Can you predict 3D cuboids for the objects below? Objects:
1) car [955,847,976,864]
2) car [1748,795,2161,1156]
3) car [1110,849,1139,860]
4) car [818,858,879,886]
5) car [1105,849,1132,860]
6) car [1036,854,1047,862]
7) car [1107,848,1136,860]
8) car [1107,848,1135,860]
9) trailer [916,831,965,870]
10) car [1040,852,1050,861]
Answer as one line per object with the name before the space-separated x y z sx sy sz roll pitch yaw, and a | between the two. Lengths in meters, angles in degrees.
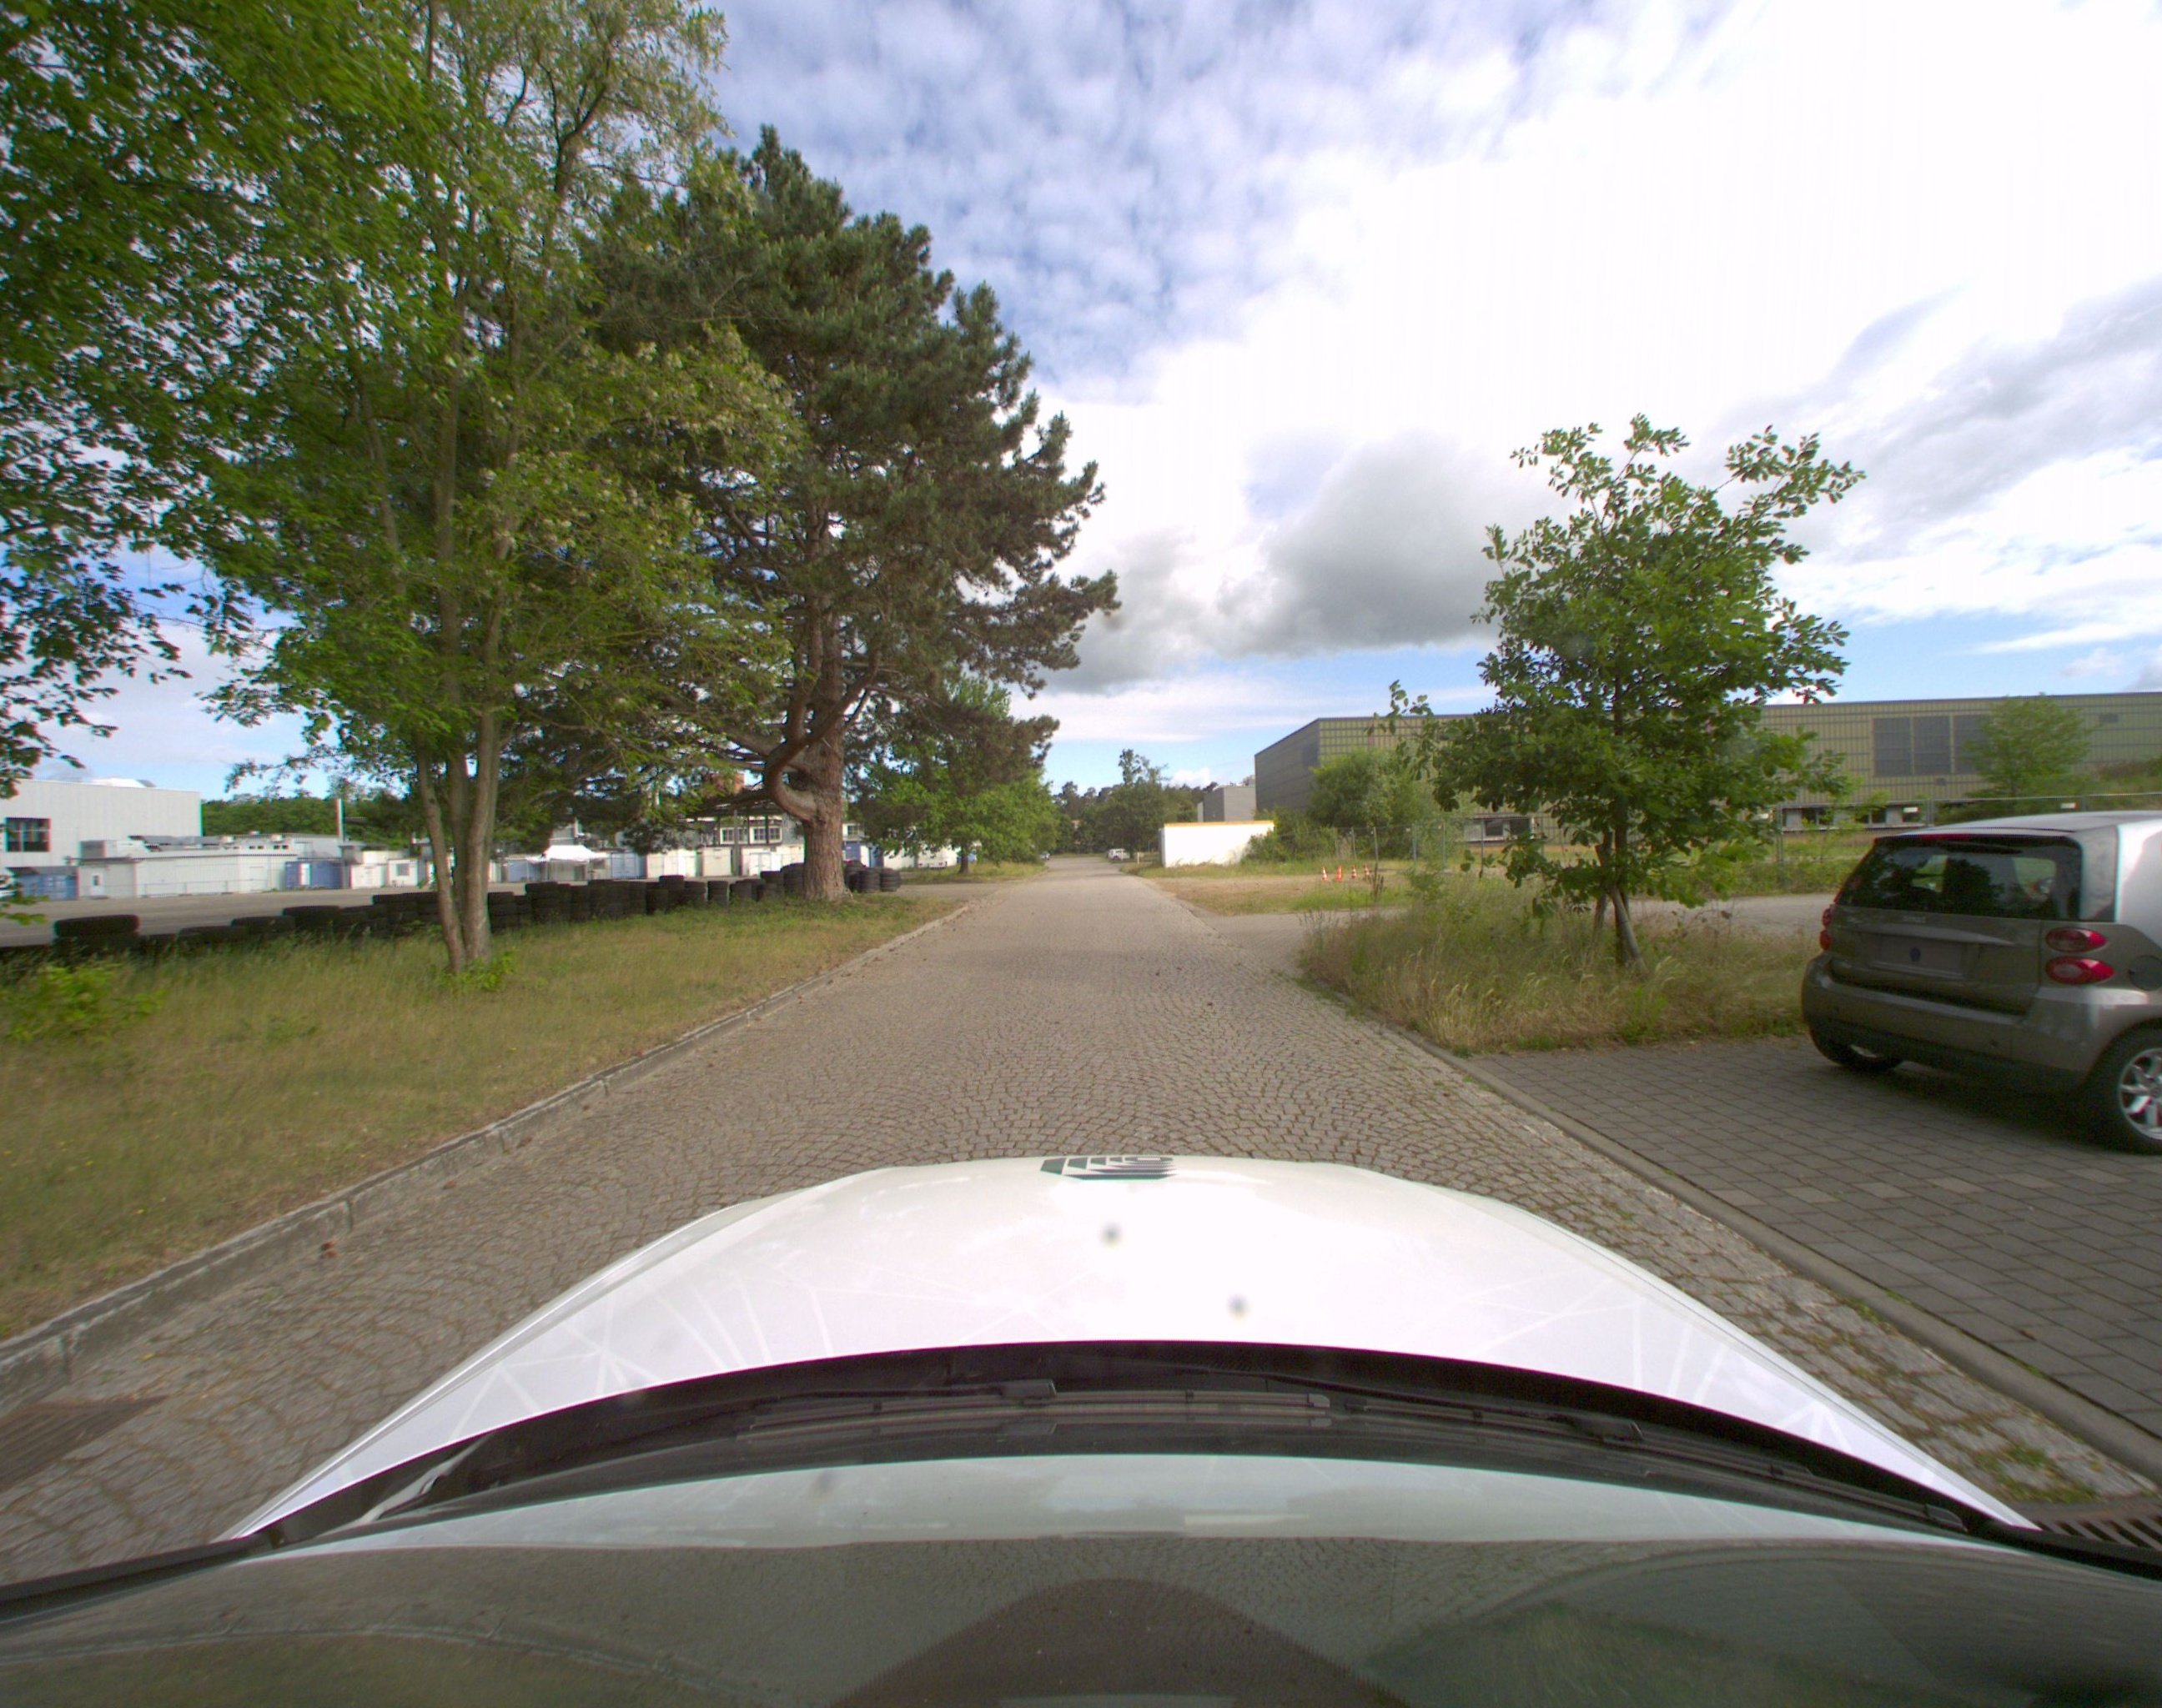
car | -17.557 0.224 124.087 1.985 2.523 5.623 -2 0 4
car | 5.850 0.499 4.590 2.732 1.582 1.683 -4 0 0
car | 5.962 0.063 111.864 3.974 1.455 2.000 -1 -1 0
car | -13.124 0.969 46.164 1.814 1.431 4.226 -2 0 6
car | 5.596 0.032 121.974 3.974 1.455 1.770 -2 0 0
car | -6.619 0.651 135.749 1.744 1.364 3.997 -2 0 -2
car | 5.677 0.023 114.031 3.974 1.455 1.697 -2 0 0
car | 5.749 -0.004 117.072 3.974 1.455 1.770 -2 0 0
trailer | -14.412 -0.351 84.334 2.646 3.705 10.728 -2 0 3
car | -6.456 0.461 145.981 1.744 1.454 3.997 -2 0 -2
